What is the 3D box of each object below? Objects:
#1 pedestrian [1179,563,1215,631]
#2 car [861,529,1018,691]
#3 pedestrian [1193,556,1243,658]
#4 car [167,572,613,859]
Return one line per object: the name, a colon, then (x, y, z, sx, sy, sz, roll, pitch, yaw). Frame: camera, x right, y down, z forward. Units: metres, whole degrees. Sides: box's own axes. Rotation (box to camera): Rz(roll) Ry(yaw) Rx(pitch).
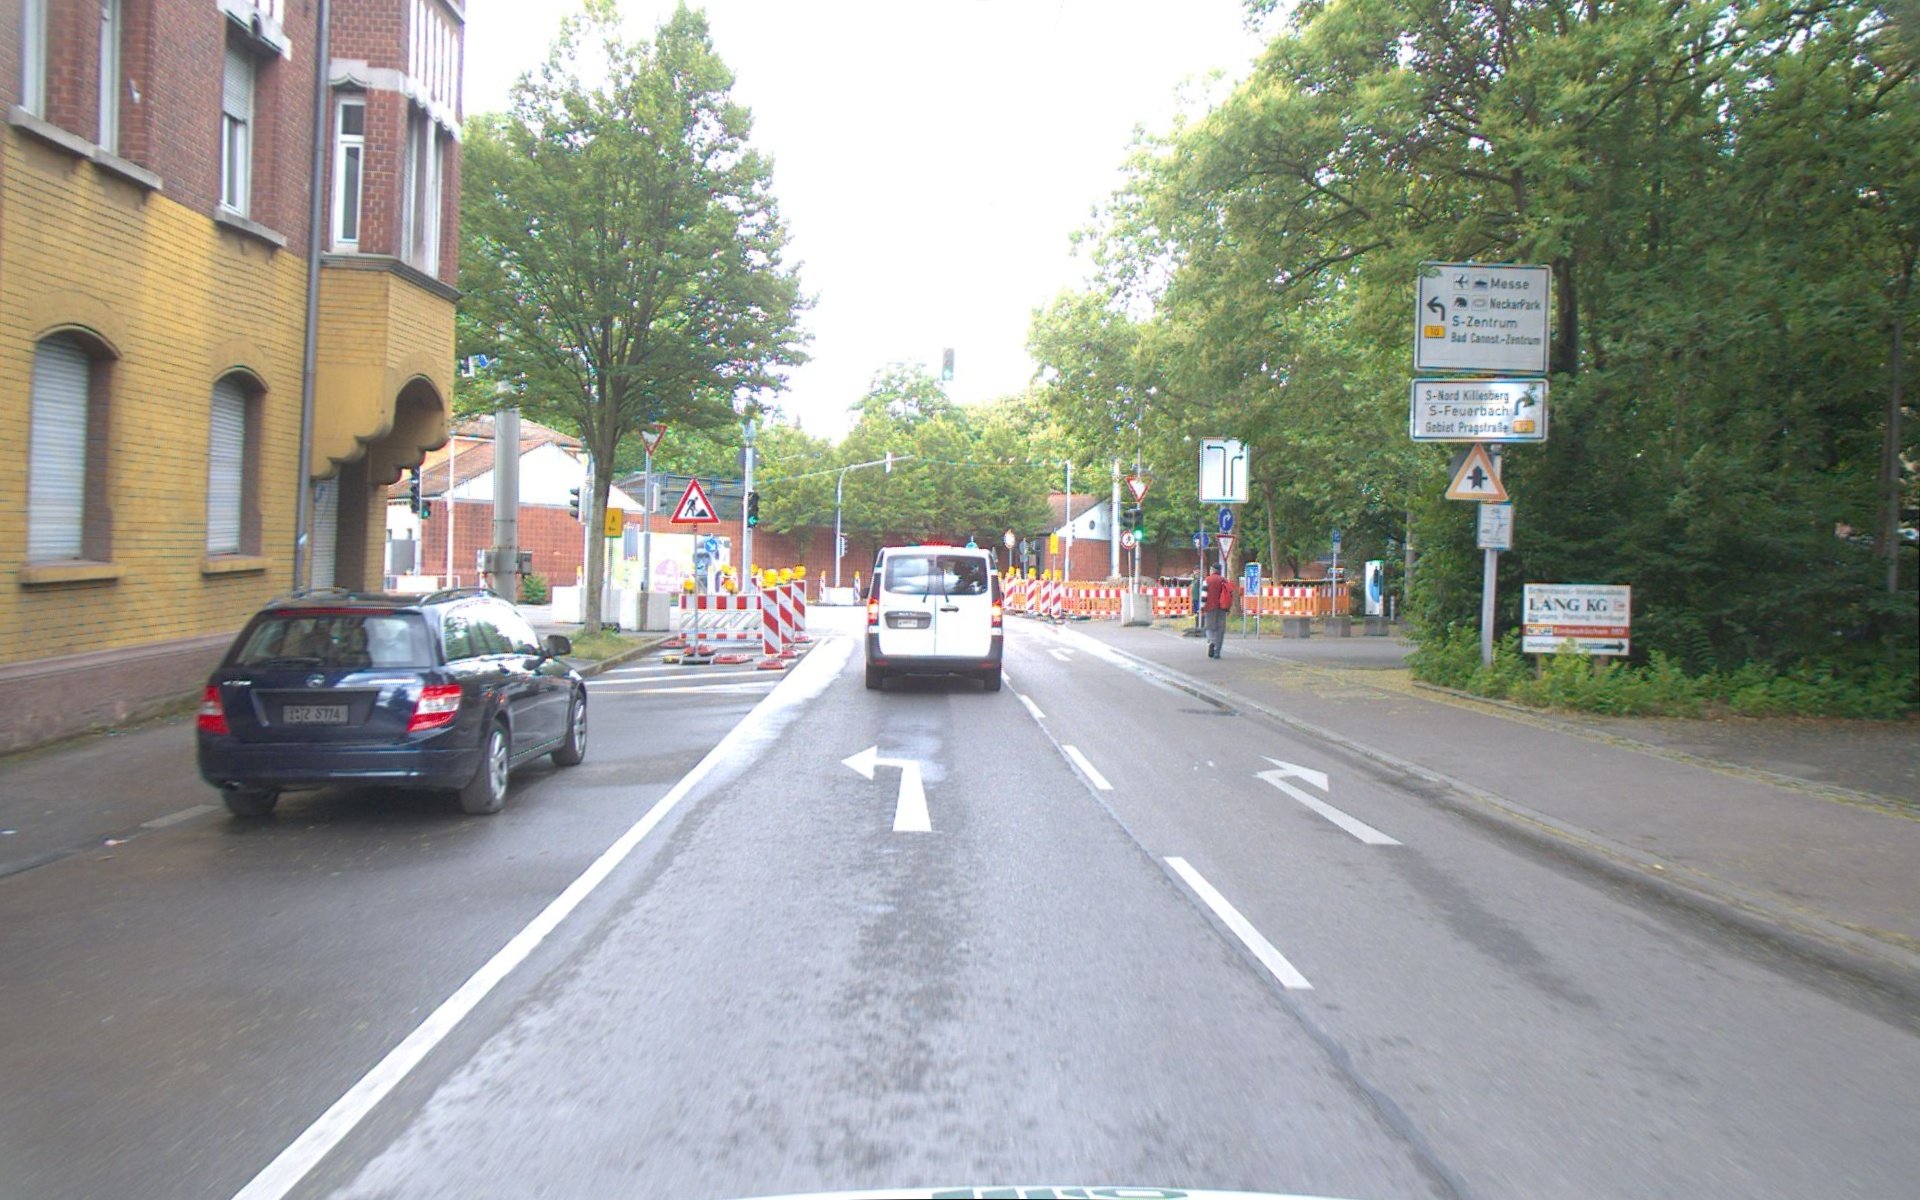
pedestrian: (6.151, -0.085, 42.927, 0.717, 1.727, 0.836, 0, 1, -10)
car: (-0.331, 0.187, 23.446, 1.879, 1.934, 4.699, 4, -2, -2)
pedestrian: (4.799, 0.114, 30.777, 0.763, 1.863, 0.727, -1, 1, -2)
car: (-3.804, 0.646, 11.893, 1.690, 1.511, 4.390, 2, 2, -1)
